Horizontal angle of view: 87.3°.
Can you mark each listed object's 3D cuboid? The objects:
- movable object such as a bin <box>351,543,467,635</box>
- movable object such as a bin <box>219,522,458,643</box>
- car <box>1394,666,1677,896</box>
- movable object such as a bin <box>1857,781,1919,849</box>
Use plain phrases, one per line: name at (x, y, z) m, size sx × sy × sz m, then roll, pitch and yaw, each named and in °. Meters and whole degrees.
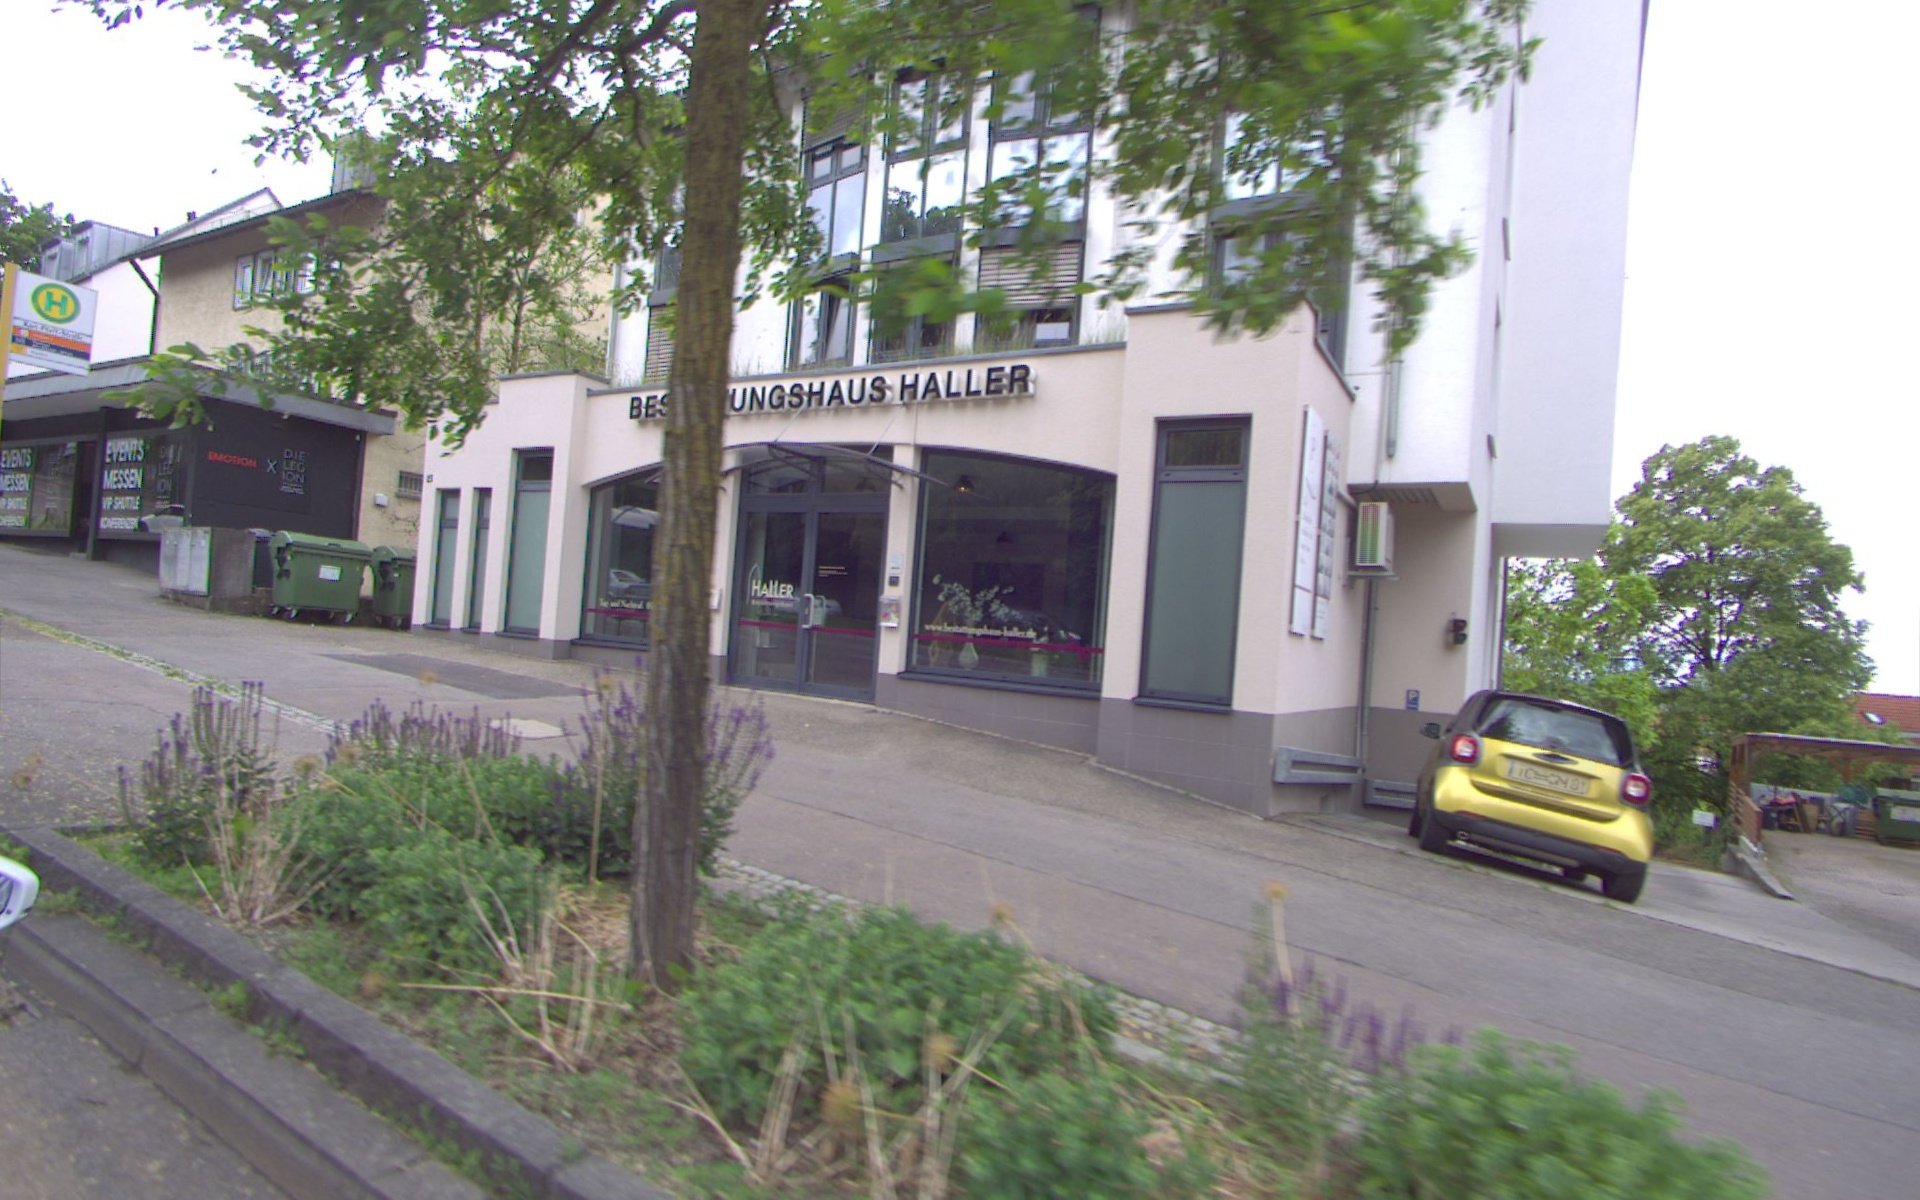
movable object such as a bin at (-9.926, -0.189, 18.155) m, size 1.109 × 1.426 × 1.342 m, roll 8°, pitch 0°, yaw 33°
movable object such as a bin at (-10.617, -0.314, 17.127) m, size 3.935 × 1.469 × 1.891 m, roll 8°, pitch -1°, yaw 33°
car at (5.148, 1.636, 9.407) m, size 1.636 × 1.477 × 3.008 m, roll 10°, pitch -5°, yaw 21°
movable object such as a bin at (25.164, 5.763, 26.996) m, size 1.312 × 1.479 × 2.560 m, roll 4°, pitch -3°, yaw 36°
